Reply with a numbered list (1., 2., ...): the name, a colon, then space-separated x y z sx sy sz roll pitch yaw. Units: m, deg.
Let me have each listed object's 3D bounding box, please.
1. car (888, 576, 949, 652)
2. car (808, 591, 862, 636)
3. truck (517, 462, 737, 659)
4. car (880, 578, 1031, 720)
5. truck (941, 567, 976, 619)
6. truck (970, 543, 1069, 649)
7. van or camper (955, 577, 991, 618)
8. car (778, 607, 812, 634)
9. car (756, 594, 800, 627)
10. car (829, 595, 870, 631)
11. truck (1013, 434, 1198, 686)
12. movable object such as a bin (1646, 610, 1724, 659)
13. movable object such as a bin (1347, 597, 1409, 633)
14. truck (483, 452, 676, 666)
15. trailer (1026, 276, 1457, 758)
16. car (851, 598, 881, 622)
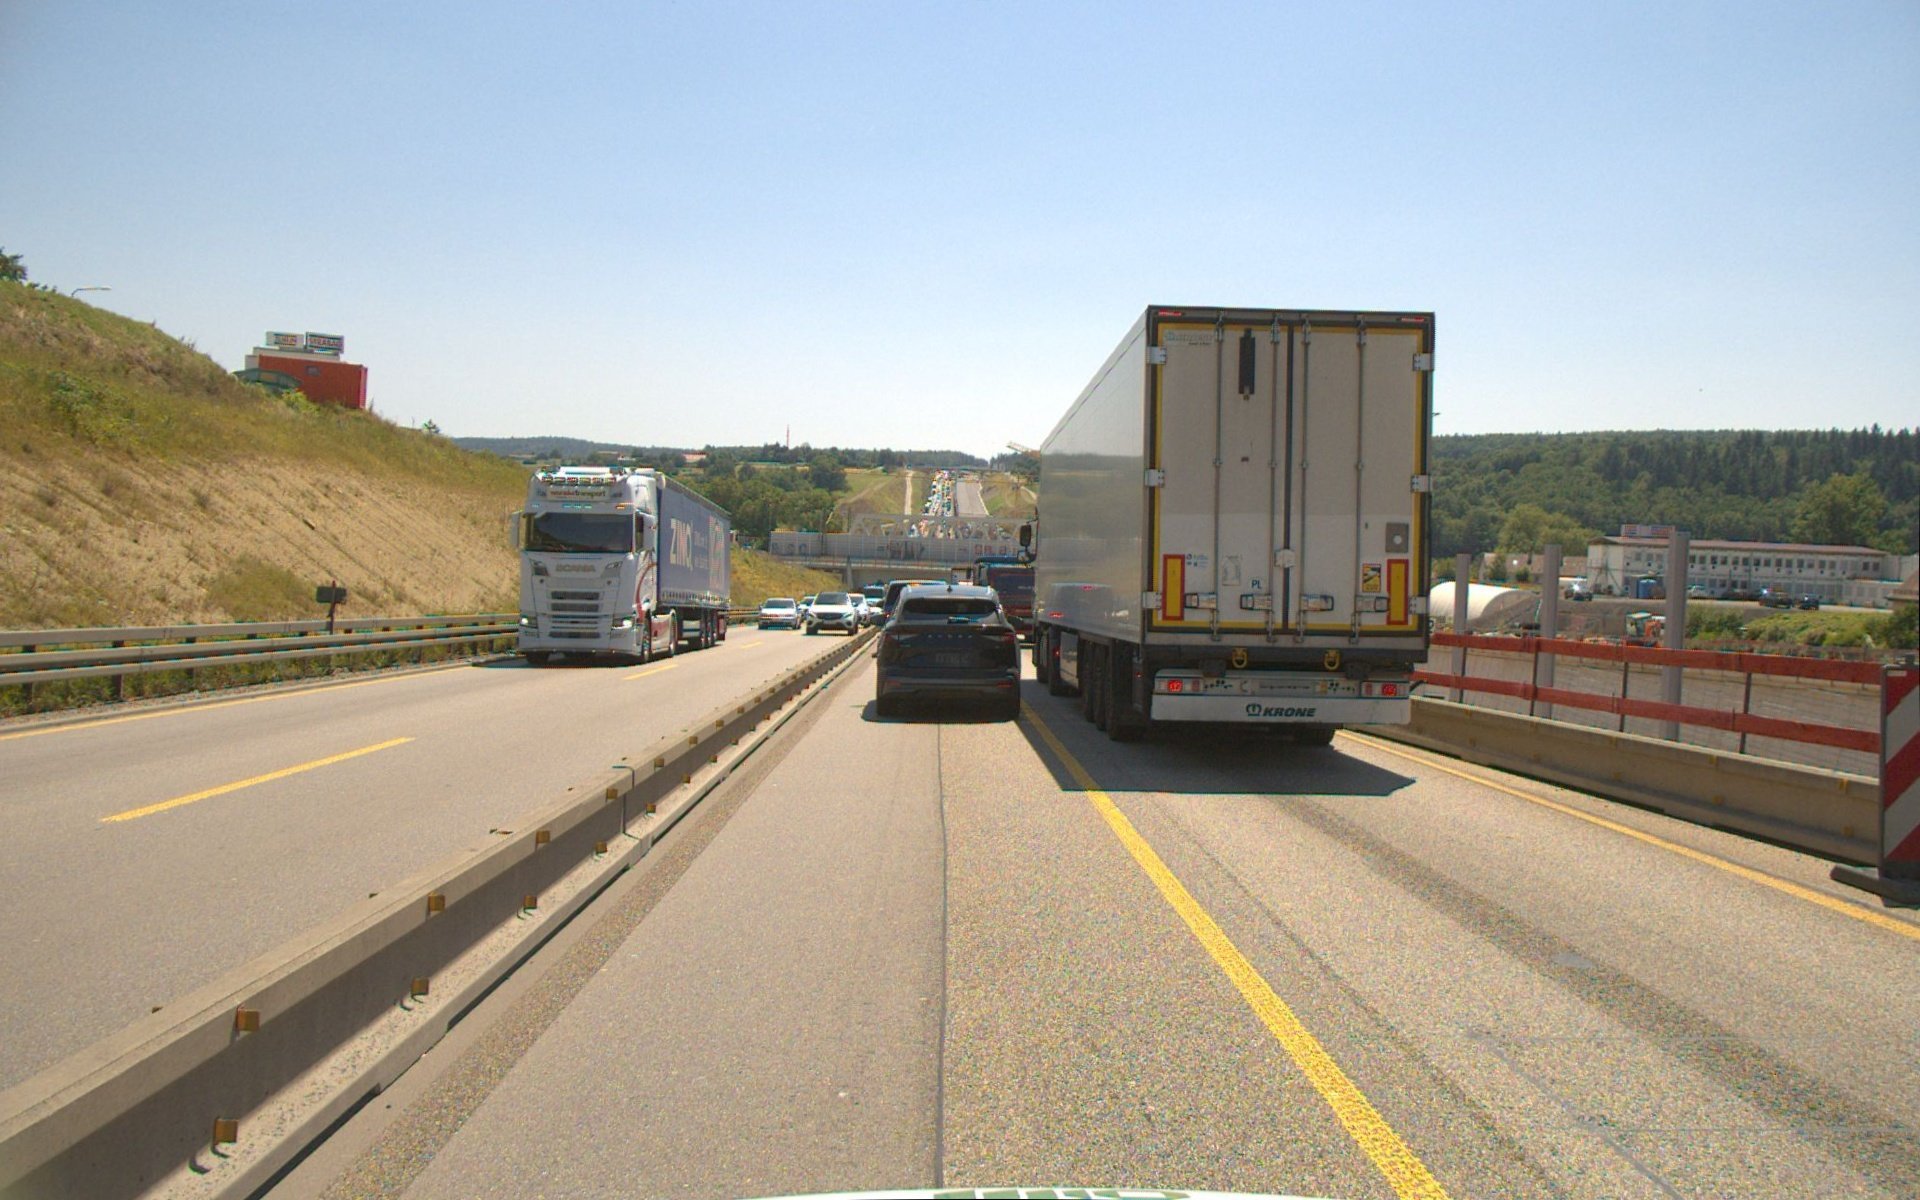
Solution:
1. car: -1.023 0.324 42.084 1.444 1.826 3.298 1 1 0
2. car: -4.855 0.499 64.651 1.775 1.666 4.361 1 0 0
3. truck: -8.175 -0.864 42.913 3.178 4.232 13.974 1 0 -2
4. car: -0.084 0.565 21.206 1.764 1.648 3.297 1 0 -1
5. truck: -0.183 -0.570 132.953 2.467 4.028 7.597 2 0 -2
6. truck: 1.844 -0.095 56.521 2.756 3.190 12.835 1 0 0
7. van or camper: 0.746 -0.165 98.047 1.953 2.283 3.999 2 0 -1
8. car: -10.446 1.268 104.974 1.861 1.612 4.512 1 0 -2
9. car: -8.145 0.446 74.307 1.667 1.403 3.965 1 0 -2
10. car: -5.542 0.633 83.359 1.853 1.738 4.559 1 0 -2
11. truck: 2.486 -0.642 29.711 2.720 4.129 4.902 1 -1 -2
12. movable object such as a bin: 35.274 1.661 80.573 1.953 2.278 4.151 1 0 0
13. movable object such as a bin: 35.877 1.289 142.398 2.829 2.960 9.477 1 0 0
14. truck: -7.965 -0.817 35.172 3.174 4.232 4.246 1 0 -2
15. trailer: 2.727 -0.666 21.334 2.745 4.129 14.111 1 0 -2
16. car: -5.994 0.614 105.725 1.770 1.503 4.278 1 0 -2
